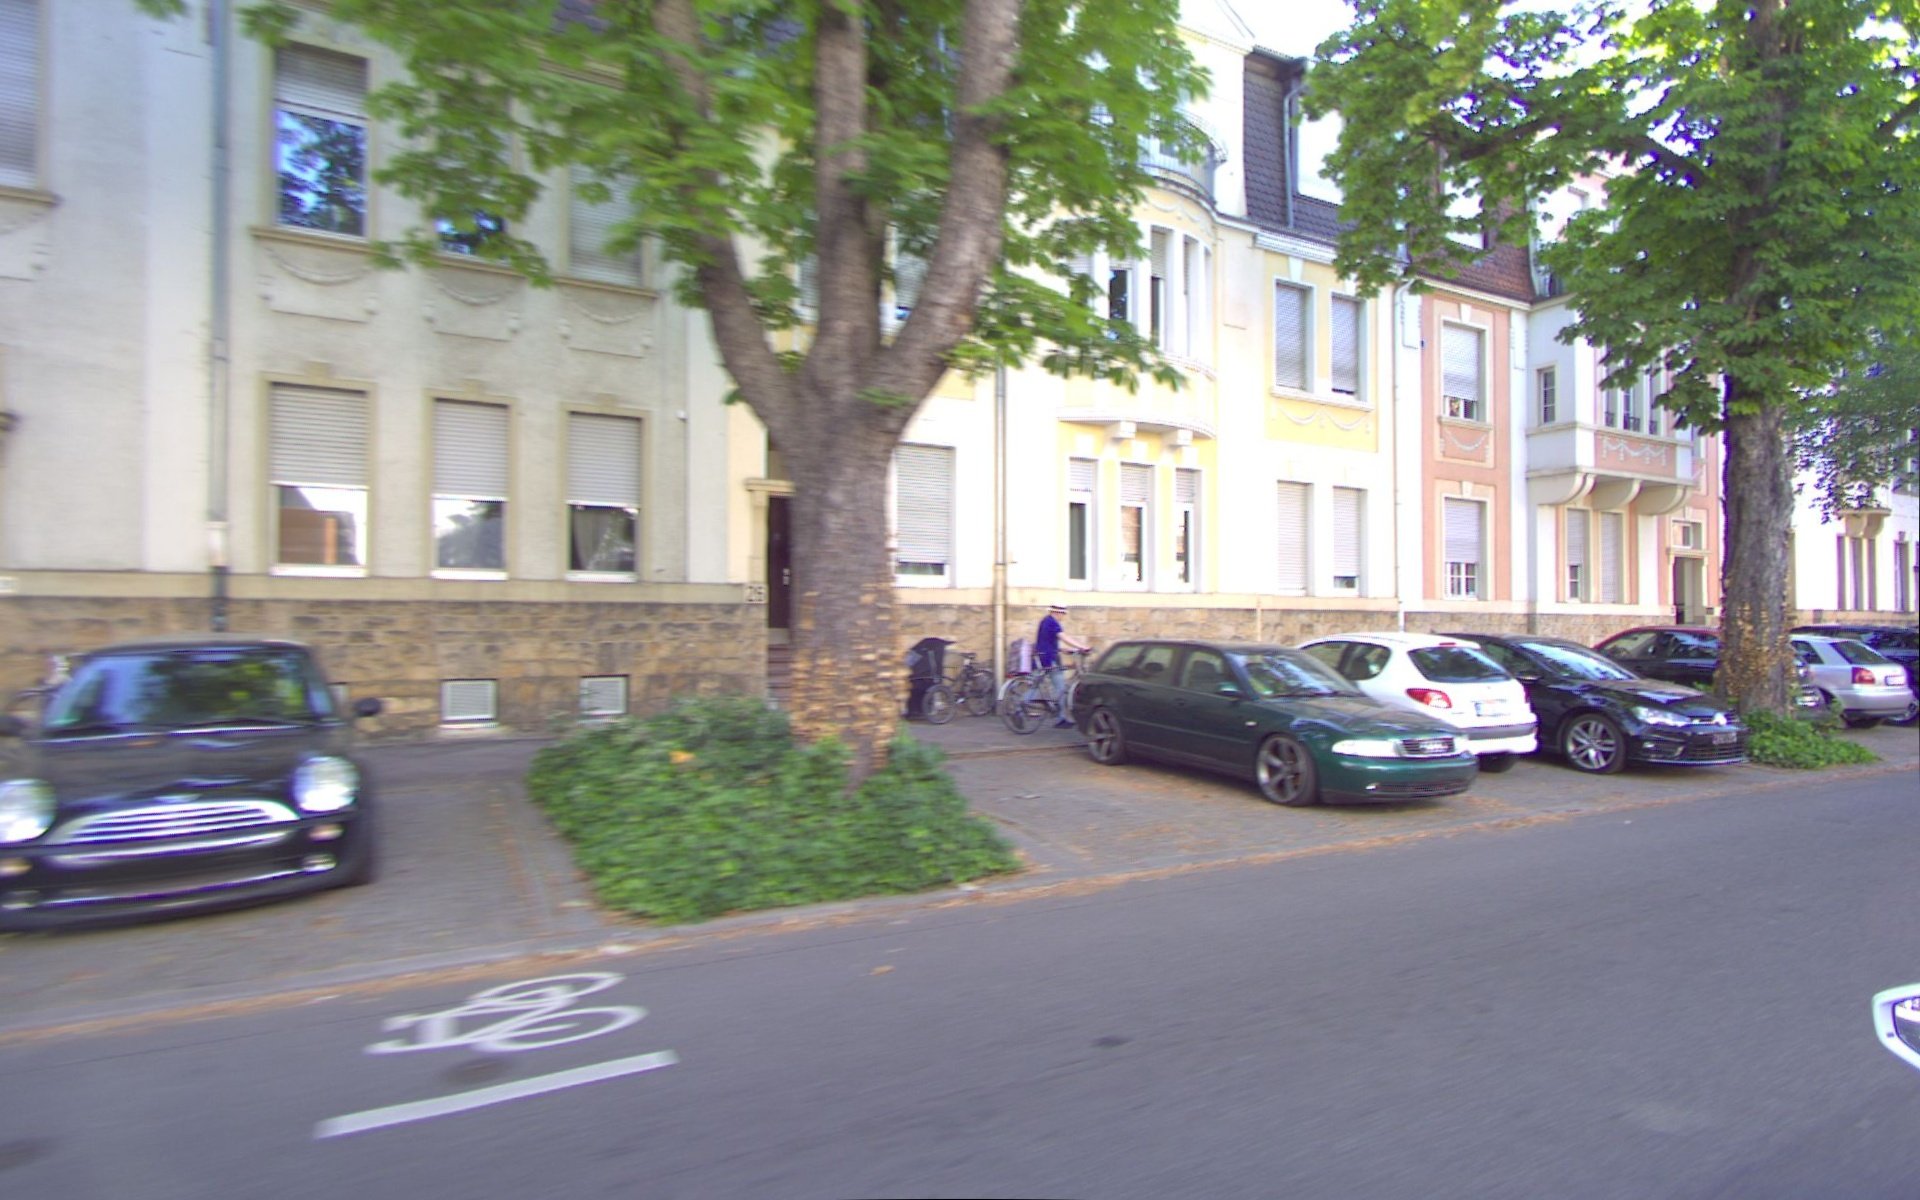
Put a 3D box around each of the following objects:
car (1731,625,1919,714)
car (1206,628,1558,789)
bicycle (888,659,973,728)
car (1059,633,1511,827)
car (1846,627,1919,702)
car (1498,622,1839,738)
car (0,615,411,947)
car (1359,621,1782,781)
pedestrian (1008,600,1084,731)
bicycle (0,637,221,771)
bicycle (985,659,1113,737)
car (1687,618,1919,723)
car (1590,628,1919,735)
[{"bbox_3d":[16.895,1.244,18.567,1.839,1.481,3.776,1,-1,-27],"label":"car"},{"bbox_3d":[4.583,1.089,11.382,1.681,1.471,3.422,2,-1,-26],"label":"car"},{"bbox_3d":[-0.392,1.219,13.293,0.956,0.826,0.570,1,1,-30],"label":"bicycle"},{"bbox_3d":[2.838,1.059,9.769,1.682,1.366,4.194,2,-2,-28],"label":"car"},{"bbox_3d":[20.902,1.354,20.438,1.726,1.534,3.971,2,-1,-28],"label":"car"},{"bbox_3d":[10.696,1.159,15.499,1.700,1.527,3.973,1,-3,-27],"label":"car"},{"bbox_3d":[-4.605,0.839,6.381,1.599,1.433,3.858,1,-2,-34],"label":"car"},{"bbox_3d":[6.941,1.038,11.898,1.762,1.502,3.973,1,-1,-27],"label":"car"},{"bbox_3d":[1.133,0.848,13.216,0.881,1.680,0.459,1,-1,-21],"label":"pedestrian"},{"bbox_3d":[-8.325,0.965,9.613,1.958,1.169,0.511,0,1,-29],"label":"bicycle"},{"bbox_3d":[1.134,1.216,12.685,1.573,0.924,0.471,1,-1,-22],"label":"bicycle"},{"bbox_3d":[15.122,1.137,17.181,1.839,1.587,3.973,1,-1,-27],"label":"car"},{"bbox_3d":[12.832,1.220,16.395,1.806,1.422,3.972,1,-1,-27],"label":"car"}]
